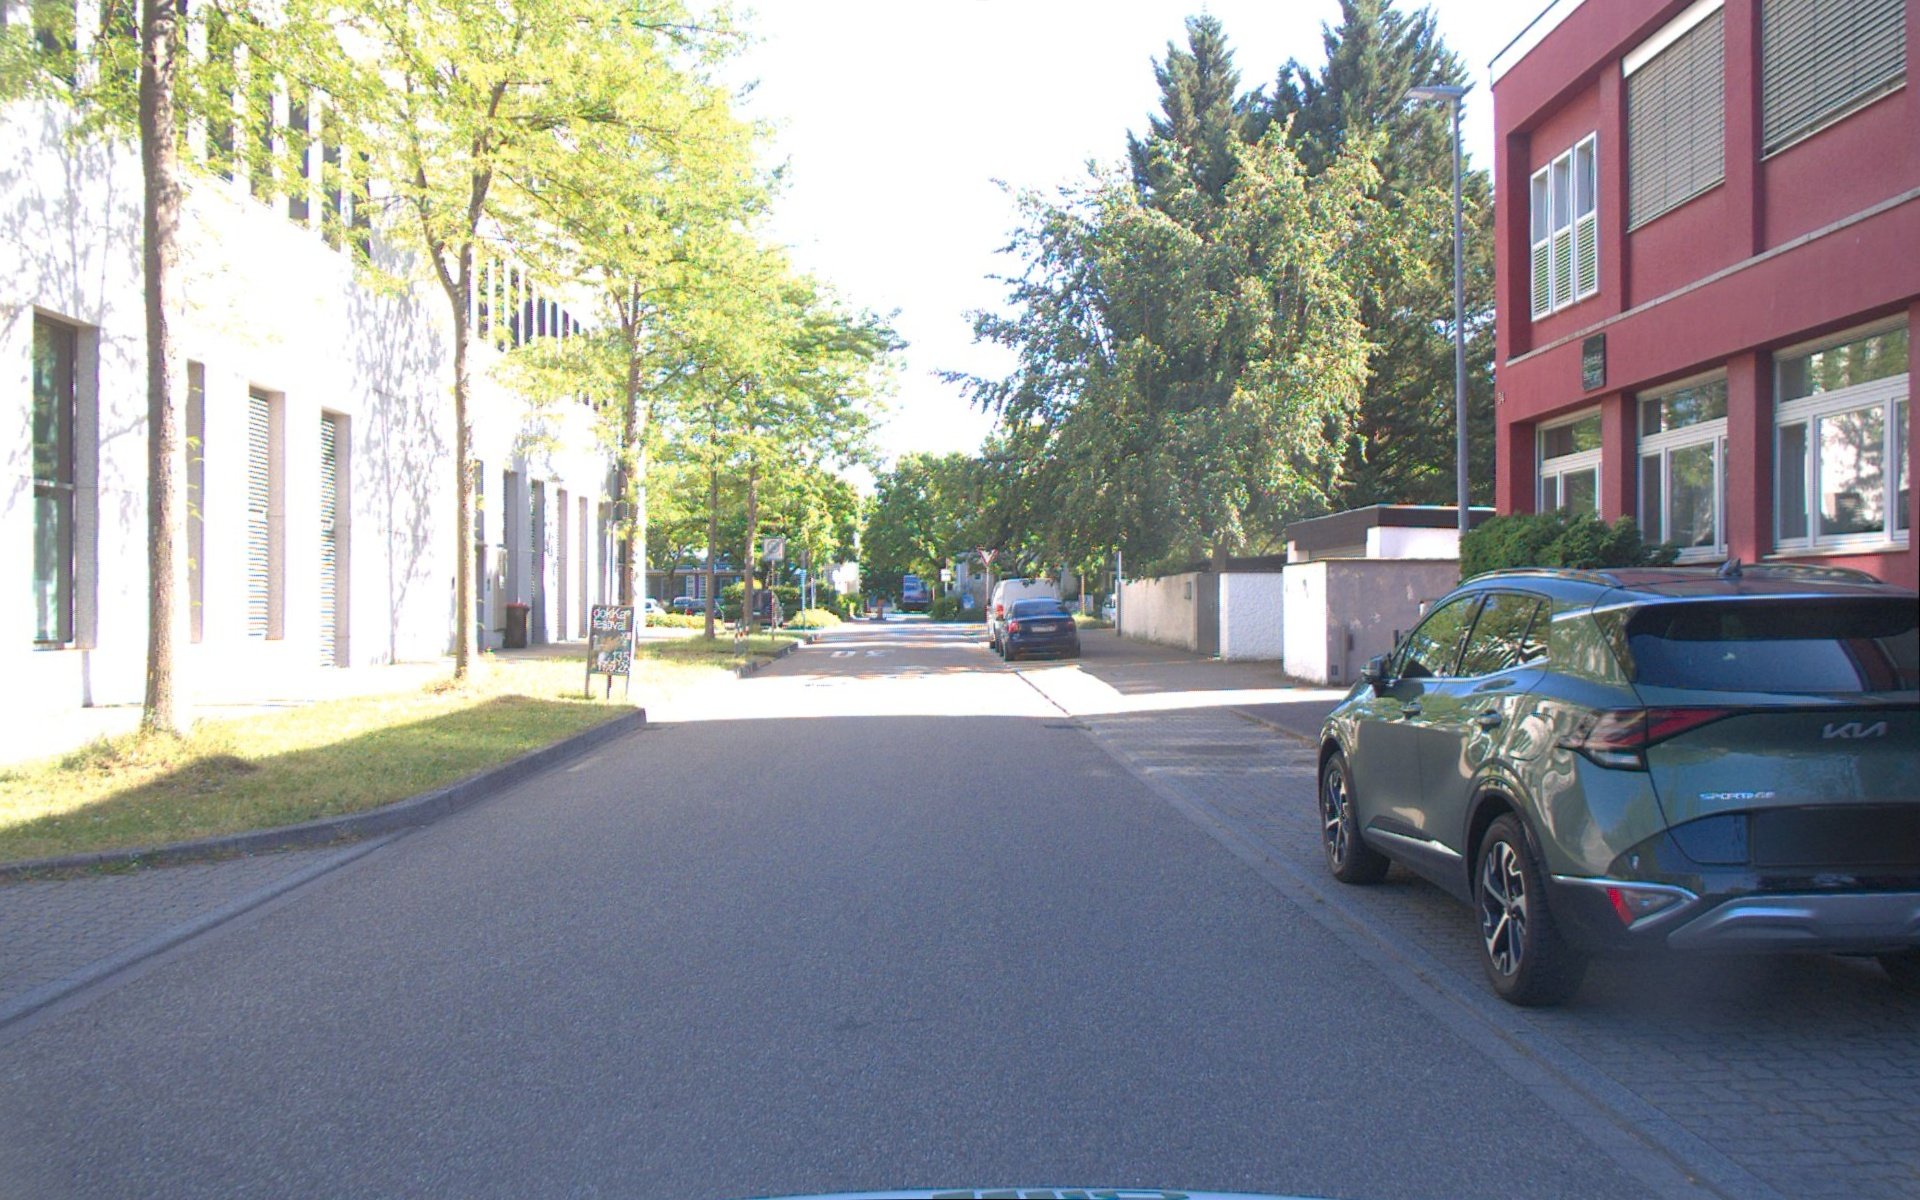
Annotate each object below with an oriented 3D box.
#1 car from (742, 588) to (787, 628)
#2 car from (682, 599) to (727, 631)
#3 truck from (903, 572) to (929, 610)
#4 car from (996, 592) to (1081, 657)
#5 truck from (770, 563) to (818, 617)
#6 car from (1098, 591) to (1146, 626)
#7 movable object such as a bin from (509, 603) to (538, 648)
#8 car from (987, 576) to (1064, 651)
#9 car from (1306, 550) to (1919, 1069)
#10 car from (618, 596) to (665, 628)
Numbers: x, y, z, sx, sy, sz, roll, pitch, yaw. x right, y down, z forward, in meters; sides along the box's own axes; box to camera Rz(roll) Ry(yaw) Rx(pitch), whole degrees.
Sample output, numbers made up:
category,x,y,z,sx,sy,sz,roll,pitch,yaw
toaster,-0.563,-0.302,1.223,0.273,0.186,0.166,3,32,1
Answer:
category,x,y,z,sx,sy,sz,roll,pitch,yaw
car,-9.681,0.376,82.025,1.836,1.879,4.167,0,1,-2
car,-12.608,0.711,81.709,1.787,1.430,4.166,0,1,-3
truck,-4.693,-0.915,176.909,2.704,3.937,9.327,1,0,-1
car,1.853,0.562,40.117,1.788,1.448,4.282,-1,0,-1
truck,-12.303,-0.748,123.066,2.745,3.873,6.924,1,0,0
car,8.115,0.402,83.148,1.787,1.626,4.166,0,1,-3
movable object such as a bin,-10.546,0.619,39.975,0.581,1.058,0.543,1,0,-3
car,1.786,0.349,46.398,1.860,1.947,5.147,-1,0,-1
car,3.006,0.665,7.545,1.860,1.658,4.371,-1,0,-1
car,-15.719,0.560,81.718,1.767,1.461,3.910,0,1,-3
